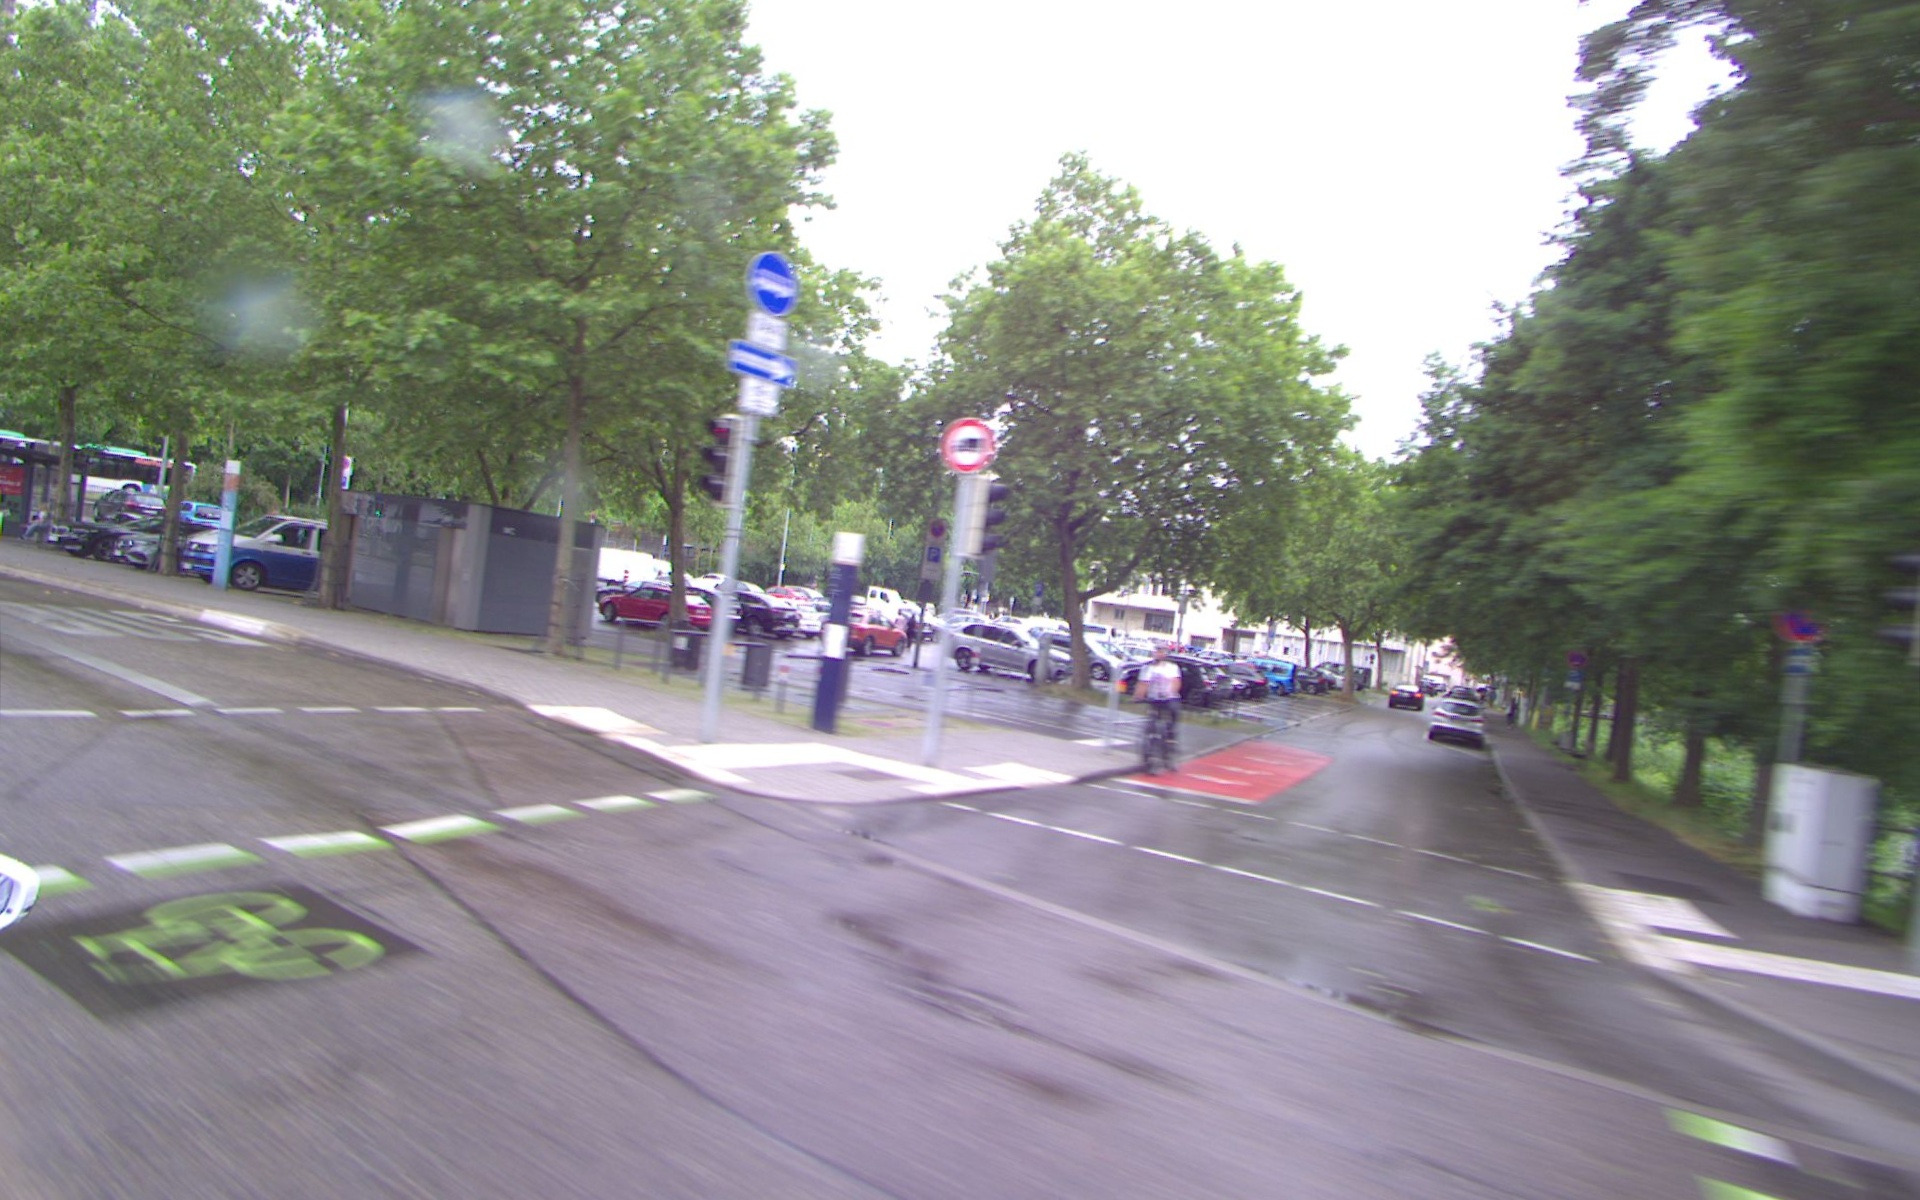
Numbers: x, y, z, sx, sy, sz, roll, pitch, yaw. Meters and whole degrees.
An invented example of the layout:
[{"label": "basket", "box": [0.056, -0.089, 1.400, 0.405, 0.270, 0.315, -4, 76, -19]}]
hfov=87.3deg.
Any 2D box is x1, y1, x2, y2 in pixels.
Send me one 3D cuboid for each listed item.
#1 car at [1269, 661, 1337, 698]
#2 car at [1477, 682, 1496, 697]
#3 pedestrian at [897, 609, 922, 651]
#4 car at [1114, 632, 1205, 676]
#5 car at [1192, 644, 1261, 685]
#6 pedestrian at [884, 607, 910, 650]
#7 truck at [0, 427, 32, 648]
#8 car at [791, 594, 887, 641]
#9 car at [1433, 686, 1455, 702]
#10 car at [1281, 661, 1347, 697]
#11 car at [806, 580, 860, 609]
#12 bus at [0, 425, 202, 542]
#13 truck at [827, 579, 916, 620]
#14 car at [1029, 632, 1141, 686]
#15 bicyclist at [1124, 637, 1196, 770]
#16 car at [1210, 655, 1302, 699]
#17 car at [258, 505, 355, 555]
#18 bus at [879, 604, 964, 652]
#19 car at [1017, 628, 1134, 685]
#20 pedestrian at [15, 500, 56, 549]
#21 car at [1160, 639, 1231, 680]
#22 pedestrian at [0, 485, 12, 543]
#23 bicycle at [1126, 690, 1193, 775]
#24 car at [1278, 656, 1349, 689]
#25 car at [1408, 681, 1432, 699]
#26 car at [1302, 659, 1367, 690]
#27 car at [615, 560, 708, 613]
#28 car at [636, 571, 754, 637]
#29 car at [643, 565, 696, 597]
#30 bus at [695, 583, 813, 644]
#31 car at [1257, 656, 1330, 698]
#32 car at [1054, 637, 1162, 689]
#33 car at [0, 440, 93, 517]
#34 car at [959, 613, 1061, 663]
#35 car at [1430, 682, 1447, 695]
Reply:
[{"label": "car", "box": [22.537, 5.211, 66.035, 3.927, 1.837, 2.000, 8, -1, 23]}, {"label": "car", "box": [71.562, 12.190, 136.691, 1.967, 1.564, 3.995, 7, -2, 32]}, {"label": "pedestrian", "box": [-2.168, 1.294, 43.223, 0.818, 1.659, 0.748, 7, -3, 5]}, {"label": "car", "box": [11.190, 3.036, 56.400, 4.514, 1.777, 1.936, 7, -1, 27]}, {"label": "car", "box": [17.532, 4.234, 66.070, 3.927, 2.037, 2.000, 8, -1, 23]}, {"label": "pedestrian", "box": [-2.653, 1.196, 42.147, 0.818, 1.659, 0.748, 7, -3, 2]}, {"label": "truck", "box": [-11.273, -0.903, 9.710, 4.638, 2.049, 2.126, 7, -1, 33]}, {"label": "car", "box": [-5.608, 0.799, 46.599, 3.932, 1.681, 1.810, 5, -4, 29]}, {"label": "car", "box": [57.454, 11.204, 119.398, 1.728, 1.564, 3.995, 7, -2, 32]}, {"label": "car", "box": [24.391, 5.416, 69.295, 3.927, 1.837, 2.000, 8, -1, 23]}, {"label": "car", "box": [-8.852, -0.365, 70.088, 3.354, 1.533, 1.657, 7, -1, 35]}, {"label": "bus", "box": [-56.710, -7.553, 60.179, 3.046, 5.271, 17.960, 7, -2, 30]}, {"label": "truck", "box": [-6.964, -0.072, 78.993, 6.406, 2.264, 2.449, 7, -1, 24]}, {"label": "car", "box": [5.721, 2.684, 46.050, 4.514, 1.777, 1.936, 7, -1, 27]}, {"label": "bicyclist", "box": [3.079, 1.584, 15.474, 0.738, 1.908, 0.645, 8, -2, 21]}, {"label": "car", "box": [16.585, 4.294, 56.359, 4.514, 1.777, 1.936, 7, -1, 27]}, {"label": "car", "box": [-29.905, -3.215, 46.022, 3.660, 1.755, 1.910, 5, -4, 25]}, {"label": "bus", "box": [-2.079, 1.493, 54.426, 3.930, 2.035, 2.001, 5, -4, 27]}, {"label": "car", "box": [5.018, 2.434, 43.715, 4.514, 1.777, 1.936, 7, -1, 27]}, {"label": "pedestrian", "box": [-28.430, -2.312, 30.935, 0.714, 1.373, 0.622, 7, -1, 30]}, {"label": "car", "box": [15.104, 3.799, 64.564, 3.927, 2.037, 2.000, 8, -1, 23]}, {"label": "pedestrian", "box": [-29.335, -2.661, 30.358, 0.612, 1.720, 0.726, 7, -1, 29]}, {"label": "bicycle", "box": [3.060, 1.996, 15.309, 0.510, 1.135, 1.954, 8, -3, 22]}, {"label": "car", "box": [26.342, 5.414, 75.083, 4.520, 1.777, 1.933, 7, -2, 33]}, {"label": "car", "box": [48.313, 9.431, 105.670, 1.728, 1.564, 3.995, 7, -2, 32]}, {"label": "car", "box": [30.261, 6.035, 81.300, 4.514, 1.777, 1.936, 7, -1, 27]}, {"label": "car", "box": [-14.550, -0.674, 49.005, 3.932, 2.035, 2.000, 5, -4, 29]}, {"label": "car", "box": [-9.781, 0.146, 37.077, 3.935, 1.924, 1.832, 5, -4, 32]}, {"label": "car", "box": [-22.041, -1.448, 76.291, 3.945, 1.945, 1.882, 7, 0, 42]}, {"label": "bus", "box": [-7.936, 0.512, 38.714, 3.932, 1.743, 1.998, 7, -1, 30]}, {"label": "car", "box": [20.598, 4.744, 62.061, 3.927, 2.004, 2.000, 8, -1, 23]}, {"label": "car", "box": [6.997, 2.980, 47.661, 4.514, 1.777, 1.936, 7, -1, 27]}, {"label": "car", "box": [-43.071, -5.682, 47.188, 4.154, 3.005, 2.078, 7, -1, 29]}, {"label": "car", "box": [2.506, 1.902, 50.219, 4.514, 1.777, 1.936, 7, -1, 27]}, {"label": "car", "box": [70.361, 13.064, 147.958, 1.728, 1.564, 3.995, 7, -2, 32]}]
